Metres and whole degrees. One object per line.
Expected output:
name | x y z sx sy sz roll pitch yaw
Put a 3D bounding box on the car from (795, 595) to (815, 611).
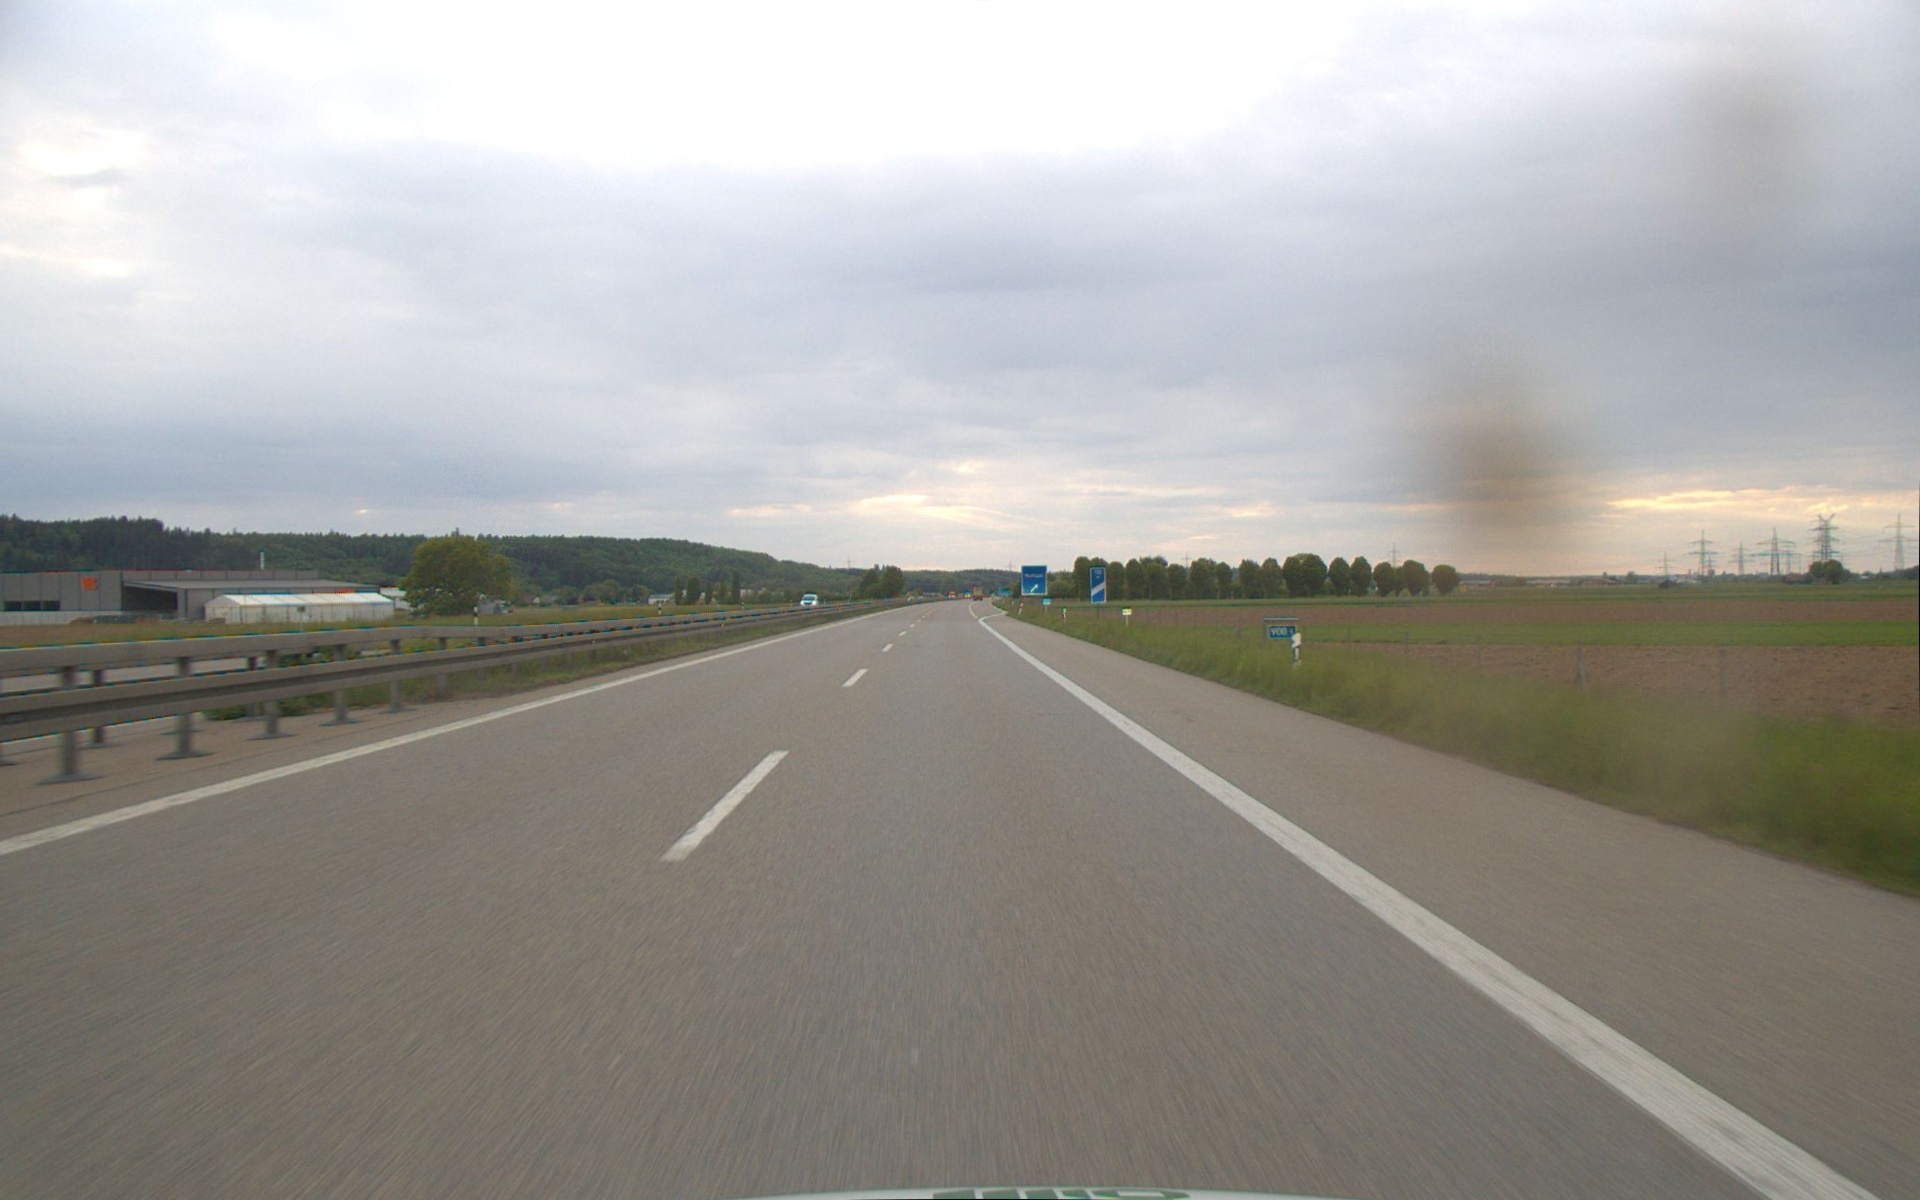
car | -18.071 0.301 192.943 1.953 1.796 4.951 1 0 -1
